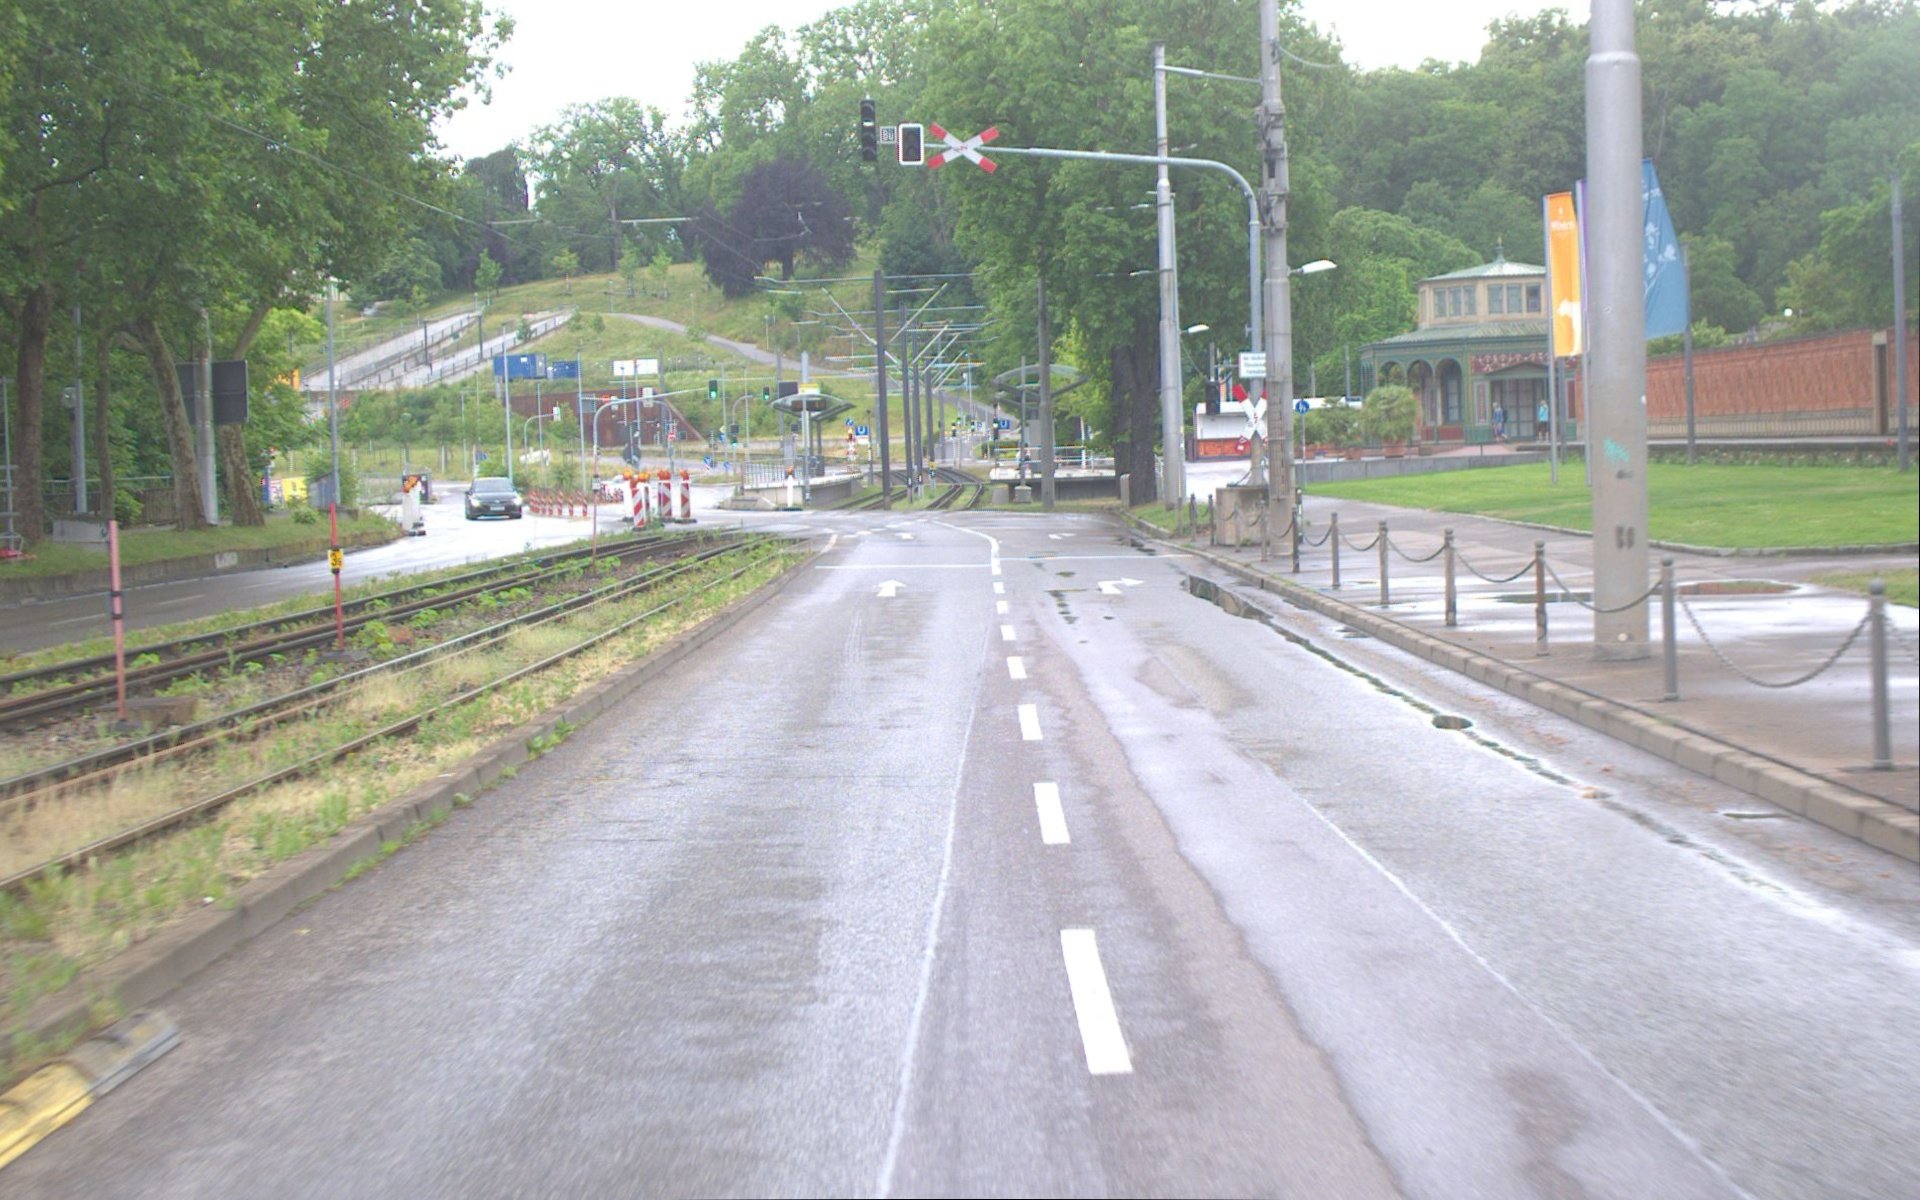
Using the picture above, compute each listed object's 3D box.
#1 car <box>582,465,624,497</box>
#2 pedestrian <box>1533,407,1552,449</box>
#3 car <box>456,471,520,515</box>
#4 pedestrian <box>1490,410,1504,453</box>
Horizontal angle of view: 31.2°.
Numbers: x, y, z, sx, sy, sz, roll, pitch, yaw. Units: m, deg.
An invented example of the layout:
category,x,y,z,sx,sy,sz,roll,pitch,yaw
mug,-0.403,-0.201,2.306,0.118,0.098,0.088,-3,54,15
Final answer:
category,x,y,z,sx,sy,sz,roll,pitch,yaw
car,-18.436,-6.171,177.780,1.709,1.493,4.721,-3,3,-1
pedestrian,23.106,-6.838,136.397,0.551,1.651,0.468,0,2,35
car,-16.484,-3.726,119.930,1.746,1.425,4.562,-4,2,-13
pedestrian,21.490,-6.734,137.570,0.531,1.705,0.695,1,1,12
